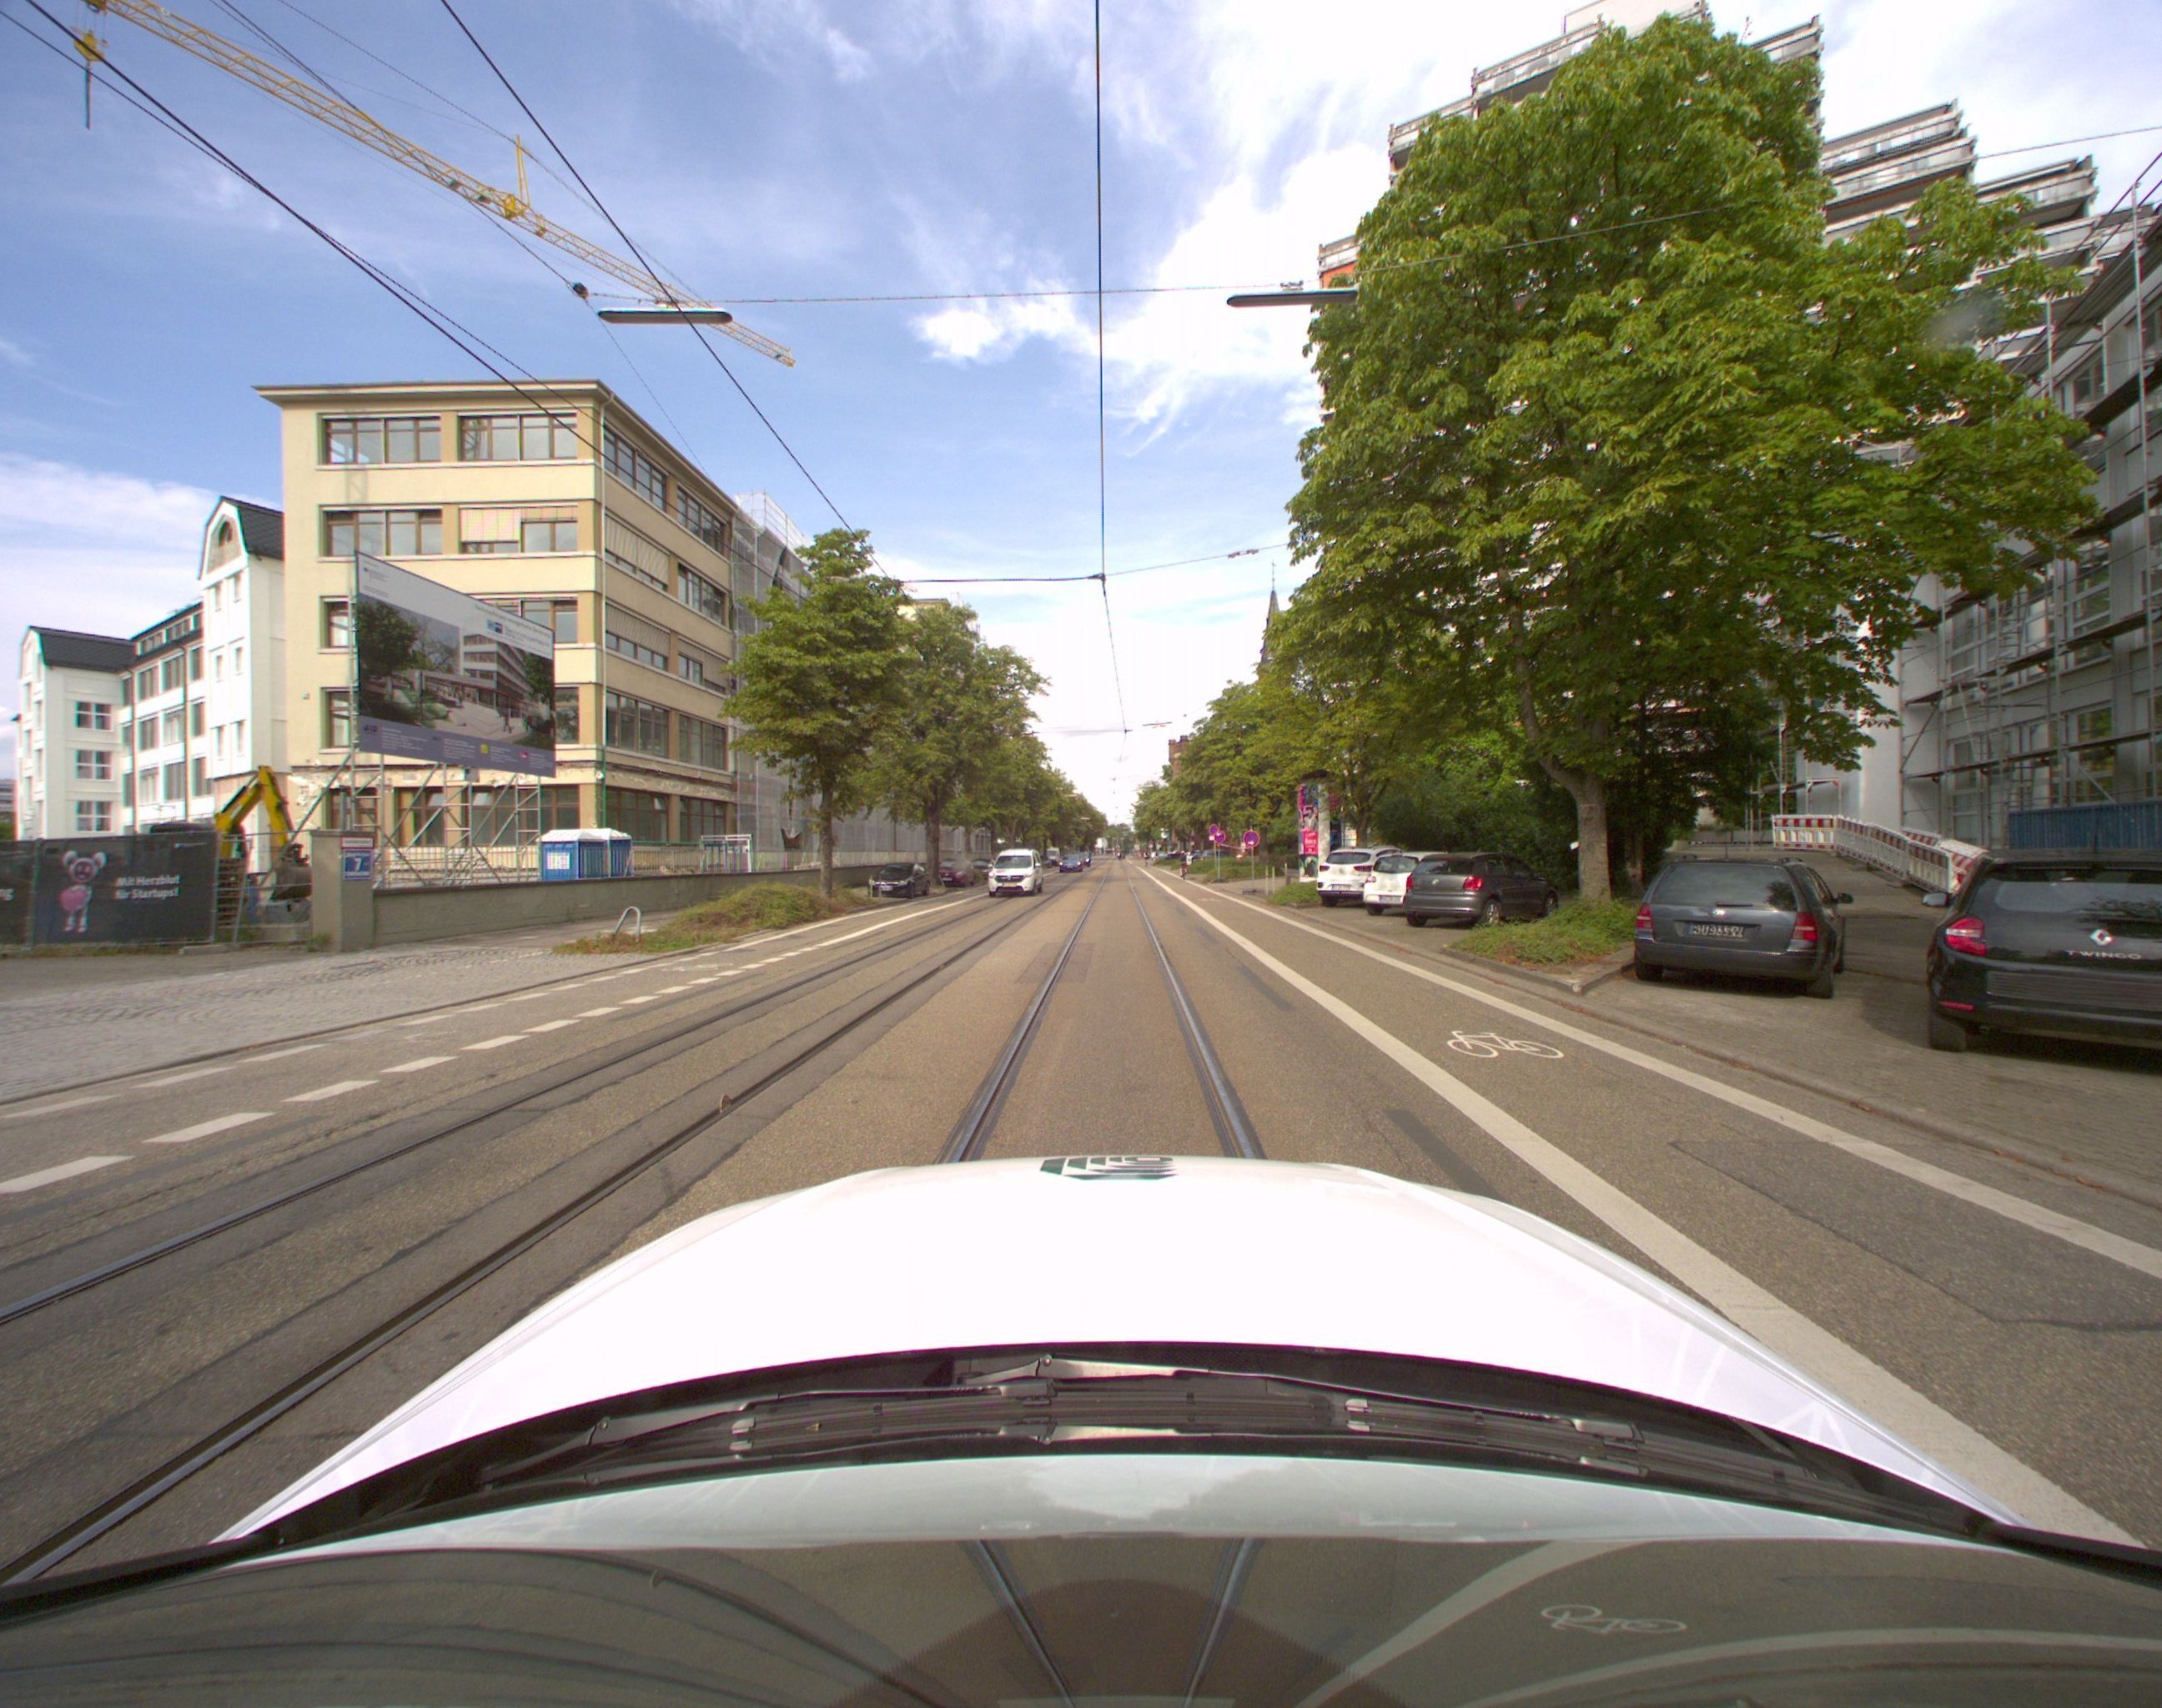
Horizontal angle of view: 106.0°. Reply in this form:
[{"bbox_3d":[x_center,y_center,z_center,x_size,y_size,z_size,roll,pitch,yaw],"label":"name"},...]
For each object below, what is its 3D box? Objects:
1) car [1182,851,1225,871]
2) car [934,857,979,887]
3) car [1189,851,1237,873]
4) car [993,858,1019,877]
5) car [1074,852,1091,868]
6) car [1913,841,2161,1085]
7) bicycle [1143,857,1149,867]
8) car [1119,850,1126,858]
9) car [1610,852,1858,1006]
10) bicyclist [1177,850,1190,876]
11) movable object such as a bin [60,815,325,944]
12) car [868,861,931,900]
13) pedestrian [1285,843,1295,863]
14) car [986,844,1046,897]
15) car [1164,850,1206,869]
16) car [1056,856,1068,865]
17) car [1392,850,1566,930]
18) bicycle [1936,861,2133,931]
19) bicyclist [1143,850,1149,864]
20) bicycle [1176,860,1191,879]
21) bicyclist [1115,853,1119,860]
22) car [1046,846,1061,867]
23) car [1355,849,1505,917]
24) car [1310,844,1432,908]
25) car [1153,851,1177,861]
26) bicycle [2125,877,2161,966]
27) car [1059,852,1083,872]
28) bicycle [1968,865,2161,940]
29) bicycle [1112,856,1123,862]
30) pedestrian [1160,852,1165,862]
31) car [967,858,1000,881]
[{"bbox_3d":[10.322,0.589,68.309,3.667,1.602,1.661,0,-1,-43],"label":"car"},{"bbox_3d":[-6.548,0.944,43.216,1.629,1.496,3.964,0,0,2],"label":"car"},{"bbox_3d":[10.002,0.590,61.513,3.667,1.602,1.661,0,-1,-43],"label":"car"},{"bbox_3d":[-5.776,0.991,62.725,1.585,1.402,3.962,0,0,0],"label":"car"},{"bbox_3d":[0.185,0.652,92.140,1.726,1.628,4.380,-2,0,2],"label":"car"},{"bbox_3d":[7.890,0.672,6.489,3.436,1.537,1.577,-1,0,-41],"label":"car"},{"bbox_3d":[7.175,0.879,90.148,0.661,1.043,1.842,-1,0,3],"label":"bicycle"},{"bbox_3d":[10.116,0.049,198.567,1.788,1.824,4.680,0,0,2],"label":"car"},{"bbox_3d":[7.886,0.707,9.677,4.194,1.415,1.794,0,-1,-45],"label":"car"},{"bbox_3d":[5.931,0.528,47.189,0.591,1.459,0.875,-1,0,0],"label":"bicyclist"},{"bbox_3d":[-18.349,0.500,16.960,3.030,2.443,2.506,-1,-1,12],"label":"movable object such as a bin"},{"bbox_3d":[-7.168,1.020,32.564,1.585,1.402,3.962,0,0,0],"label":"car"},{"bbox_3d":[19.078,-0.125,74.206,0.779,1.826,0.665,-1,0,22],"label":"pedestrian"},{"bbox_3d":[-2.446,0.597,31.584,1.725,1.884,4.382,-1,0,3],"label":"car"},{"bbox_3d":[9.010,0.444,70.491,3.667,1.602,1.661,0,-1,-43],"label":"car"},{"bbox_3d":[-2.813,0.945,119.245,1.585,1.402,3.962,0,0,0],"label":"car"},{"bbox_3d":[8.028,0.643,16.340,3.663,1.419,1.663,0,-1,-37],"label":"car"},{"bbox_3d":[15.118,0.632,12.996,1.952,1.043,0.598,0,0,39],"label":"bicycle"},{"bbox_3d":[7.175,0.322,90.159,0.656,1.496,0.930,-1,0,3],"label":"bicyclist"},{"bbox_3d":[5.931,0.903,47.187,0.591,1.043,1.978,-1,0,0],"label":"bicycle"},{"bbox_3d":[7.455,0.541,168.567,0.841,1.504,0.771,-1,0,10],"label":"bicyclist"},{"bbox_3d":[-3.624,0.280,106.776,1.715,2.704,5.470,0,0,0],"label":"car"},{"bbox_3d":[8.298,0.626,19.263,3.663,1.474,1.663,0,-1,-37],"label":"car"},{"bbox_3d":[8.054,0.564,22.488,3.667,1.602,1.661,0,-1,-43],"label":"car"},{"bbox_3d":[14.864,0.371,144.623,3.978,1.693,1.998,-1,0,-3],"label":"car"},{"bbox_3d":[13.618,0.785,9.423,1.817,1.043,0.456,-2,-1,31],"label":"bicycle"},{"bbox_3d":[-0.772,0.632,67.180,1.725,1.496,4.381,-1,0,2],"label":"car"},{"bbox_3d":[14.753,0.698,12.161,1.952,1.043,0.598,-1,0,30],"label":"bicycle"},{"bbox_3d":[7.508,1.022,168.558,2.260,1.189,0.771,-1,0,10],"label":"bicycle"},{"bbox_3d":[14.500,0.585,144.536,0.742,1.790,0.734,-1,-1,17],"label":"pedestrian"},{"bbox_3d":[-6.232,0.951,52.416,1.585,1.402,3.962,0,0,0],"label":"car"}]
